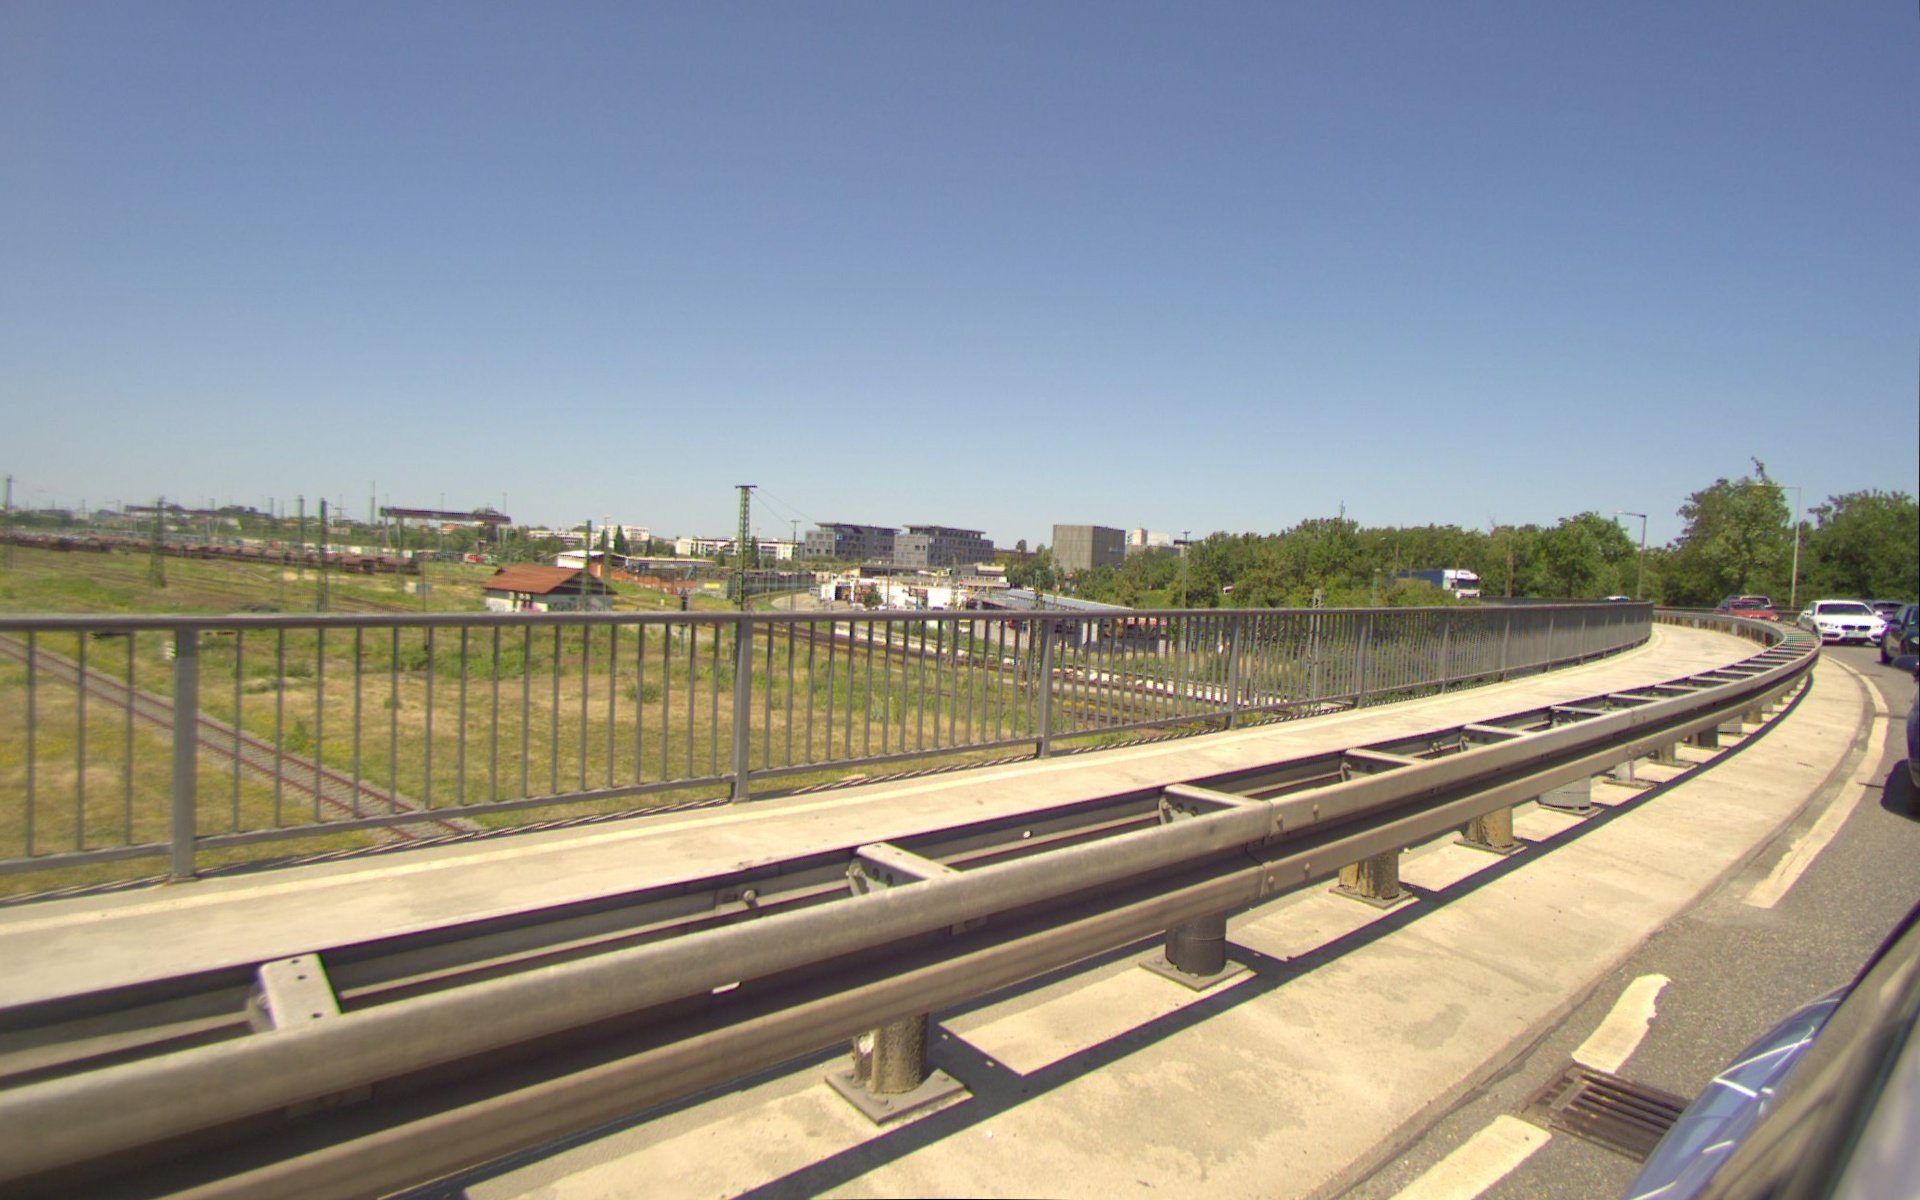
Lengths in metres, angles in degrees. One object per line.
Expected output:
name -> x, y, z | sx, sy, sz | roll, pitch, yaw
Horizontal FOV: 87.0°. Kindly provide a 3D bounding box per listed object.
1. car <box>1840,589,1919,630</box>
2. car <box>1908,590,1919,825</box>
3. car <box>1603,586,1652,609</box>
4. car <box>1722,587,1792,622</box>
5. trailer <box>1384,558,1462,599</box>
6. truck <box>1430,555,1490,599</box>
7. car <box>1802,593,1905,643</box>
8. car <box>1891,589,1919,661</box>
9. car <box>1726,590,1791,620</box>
car -> 37.987, 0.359, 41.385 | 1.761, 1.527, 4.162 | 2, 1, 23
car -> 7.953, 0.676, 7.001 | 3.930, 1.457, 1.643 | 0, 0, -41
car -> 50.367, -0.214, 76.427 | 1.674, 1.627, 3.985 | 2, 1, 13
car -> 36.426, 0.159, 46.348 | 1.780, 1.473, 4.476 | 2, 2, 29
trailer -> 50.892, -2.371, 111.825 | 2.650, 4.287, 12.716 | 0, 1, -1
truck -> 50.949, -2.285, 103.330 | 2.646, 4.281, 6.839 | -1, 0, 0
car -> 28.594, 0.533, 32.519 | 1.782, 1.473, 4.471 | 1, 1, 32
car -> 21.744, 0.521, 22.058 | 1.786, 1.473, 4.460 | 1, 1, 38
car -> 45.357, 0.258, 57.584 | 1.678, 1.627, 3.975 | 1, 1, 19
